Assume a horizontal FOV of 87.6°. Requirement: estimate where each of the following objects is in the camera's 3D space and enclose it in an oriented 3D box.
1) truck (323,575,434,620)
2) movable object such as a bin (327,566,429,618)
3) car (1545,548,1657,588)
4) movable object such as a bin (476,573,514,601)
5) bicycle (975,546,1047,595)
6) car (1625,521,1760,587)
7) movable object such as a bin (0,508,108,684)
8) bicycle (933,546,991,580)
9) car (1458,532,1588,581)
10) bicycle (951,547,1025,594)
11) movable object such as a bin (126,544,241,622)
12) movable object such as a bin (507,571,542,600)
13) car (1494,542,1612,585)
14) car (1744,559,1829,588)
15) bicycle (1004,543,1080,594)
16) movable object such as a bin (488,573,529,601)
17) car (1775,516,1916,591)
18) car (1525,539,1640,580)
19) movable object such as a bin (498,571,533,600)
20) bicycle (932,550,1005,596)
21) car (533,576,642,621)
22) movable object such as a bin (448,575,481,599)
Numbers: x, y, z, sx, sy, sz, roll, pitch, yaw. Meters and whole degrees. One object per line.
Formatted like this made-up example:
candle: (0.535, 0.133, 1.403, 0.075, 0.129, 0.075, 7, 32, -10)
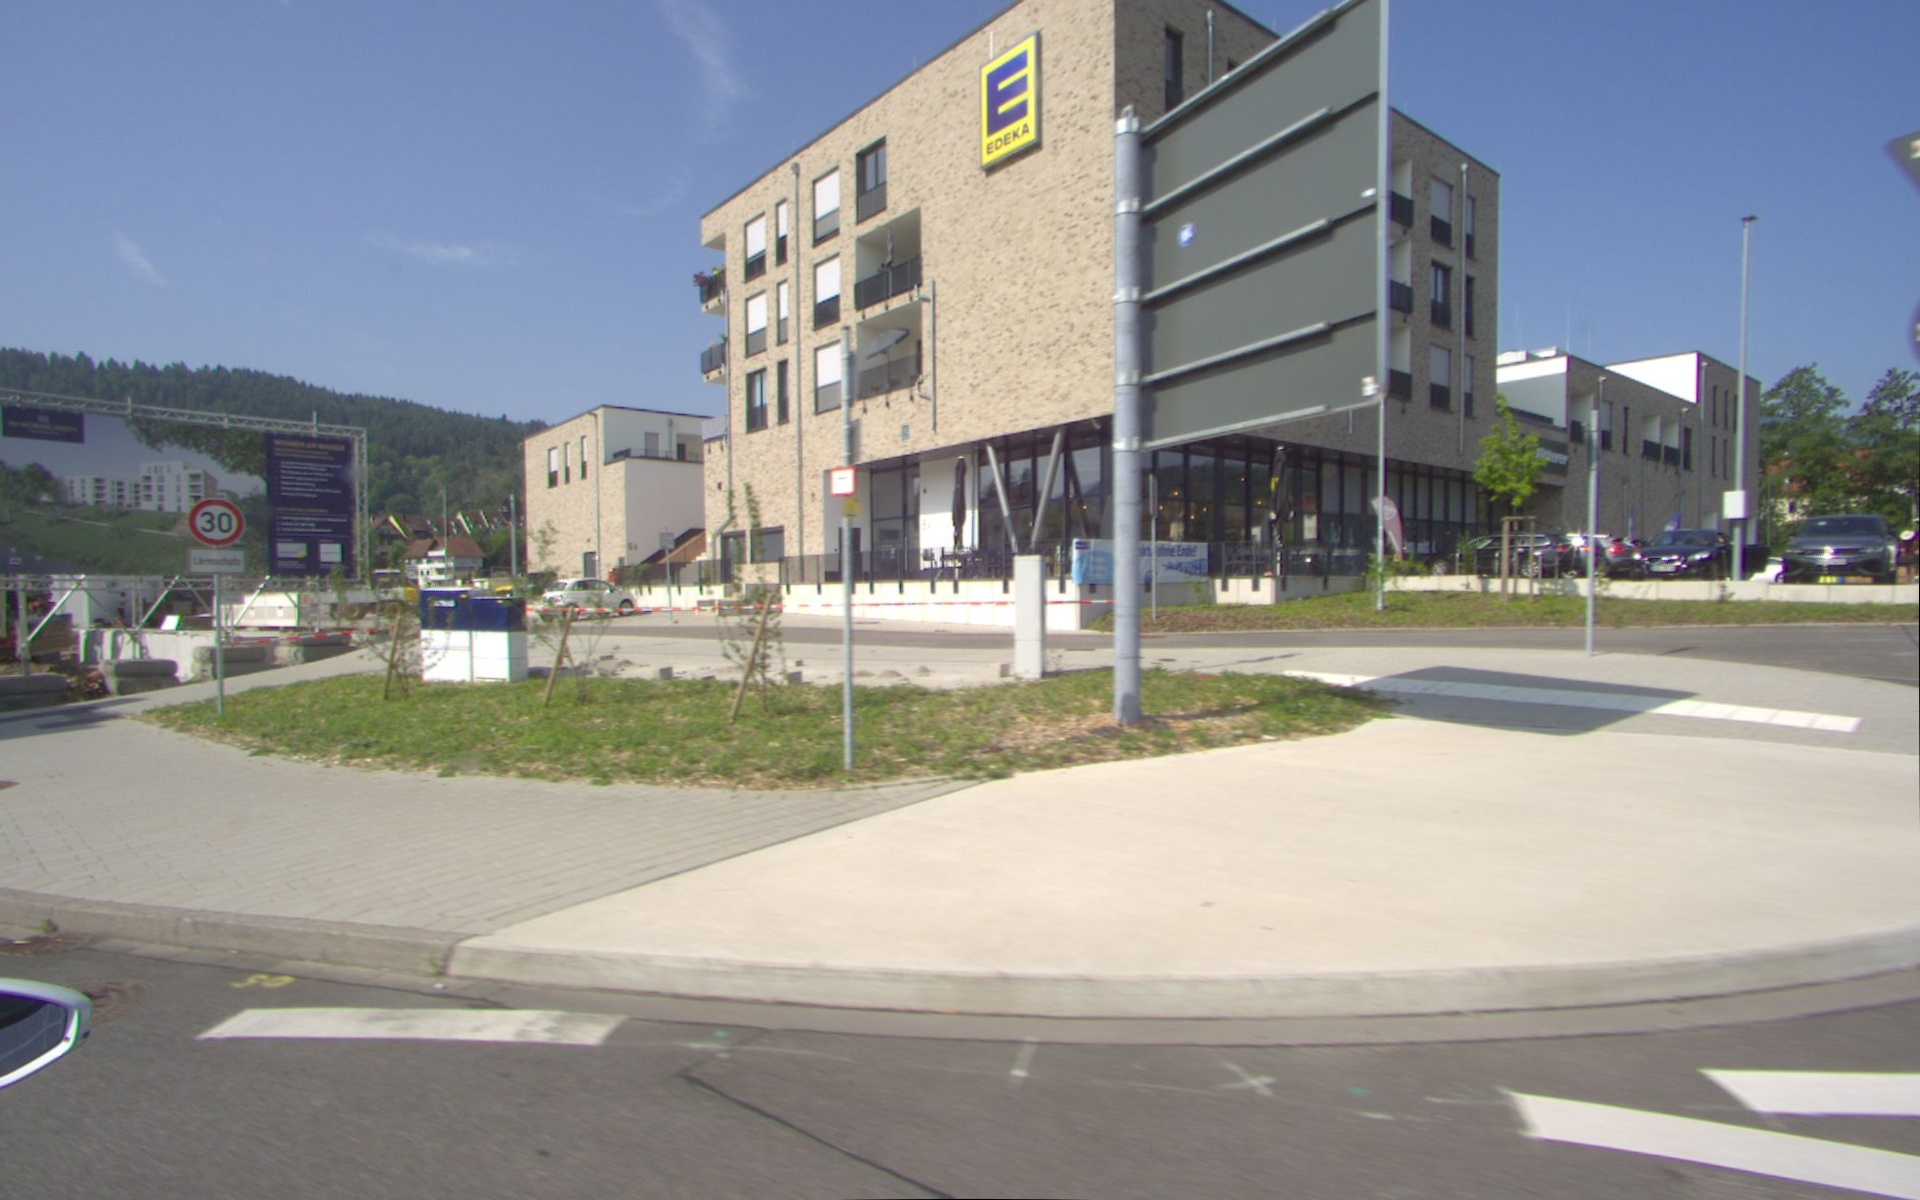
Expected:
truck: (-32.826, -0.155, 56.754, 5.251, 2.296, 2.208, -2, 1, -28)
movable object such as a bin: (-31.162, -0.462, 53.795, 4.557, 2.604, 1.916, -2, 2, -28)
car: (24.742, -1.202, 38.746, 1.564, 1.368, 3.310, 2, -1, -34)
movable object such as a bin: (-25.897, -0.702, 55.778, 1.570, 1.483, 1.307, 2, -1, -44)
bicycle: (1.383, -0.765, 26.664, 0.756, 1.159, 2.229, 1, -1, 38)
car: (19.074, -1.232, 26.007, 4.409, 1.578, 1.841, -4, 5, -41)
movable object such as a bin: (-23.806, -0.036, 25.278, 7.707, 3.903, 2.285, -1, -2, 41)
bicycle: (0.047, -1.237, 33.683, 0.686, 1.058, 2.226, 2, -1, -39)
car: (17.762, -1.332, 31.652, 1.477, 1.368, 3.298, 2, -1, -44)
bicycle: (0.782, -0.777, 27.385, 0.846, 1.159, 2.229, 1, -1, 38)
movable object such as a bin: (-39.455, -0.776, 51.134, 2.810, 3.669, 5.723, 2, -1, -19)
movable object such as a bin: (-22.942, -0.745, 52.773, 1.291, 1.483, 1.307, 2, -1, -43)
car: (21.085, -1.271, 35.712, 1.473, 1.368, 3.307, 2, -1, -37)
car: (42.550, -1.337, 51.591, 3.296, 1.368, 1.614, 1, -1, 43)
bicycle: (2.127, -0.791, 25.705, 0.846, 1.159, 2.229, 1, -1, 38)
movable object such as a bin: (-24.772, -0.703, 54.930, 1.682, 1.483, 1.307, 2, -1, -44)
car: (20.711, -1.127, 23.356, 4.409, 1.578, 1.841, -4, 5, -41)
car: (23.272, -1.475, 37.513, 1.528, 1.368, 3.310, 2, -1, -34)
movable object such as a bin: (-23.873, -0.756, 53.770, 1.291, 1.483, 1.307, 2, -1, -43)
bicycle: (0.254, -0.747, 28.191, 0.846, 1.159, 2.229, 1, -1, 38)
car: (-13.553, -0.068, 36.535, 1.574, 1.515, 3.393, -2, 1, 35)
movable object such as a bin: (-27.947, -0.752, 56.473, 1.288, 1.284, 1.307, 2, -1, -43)
